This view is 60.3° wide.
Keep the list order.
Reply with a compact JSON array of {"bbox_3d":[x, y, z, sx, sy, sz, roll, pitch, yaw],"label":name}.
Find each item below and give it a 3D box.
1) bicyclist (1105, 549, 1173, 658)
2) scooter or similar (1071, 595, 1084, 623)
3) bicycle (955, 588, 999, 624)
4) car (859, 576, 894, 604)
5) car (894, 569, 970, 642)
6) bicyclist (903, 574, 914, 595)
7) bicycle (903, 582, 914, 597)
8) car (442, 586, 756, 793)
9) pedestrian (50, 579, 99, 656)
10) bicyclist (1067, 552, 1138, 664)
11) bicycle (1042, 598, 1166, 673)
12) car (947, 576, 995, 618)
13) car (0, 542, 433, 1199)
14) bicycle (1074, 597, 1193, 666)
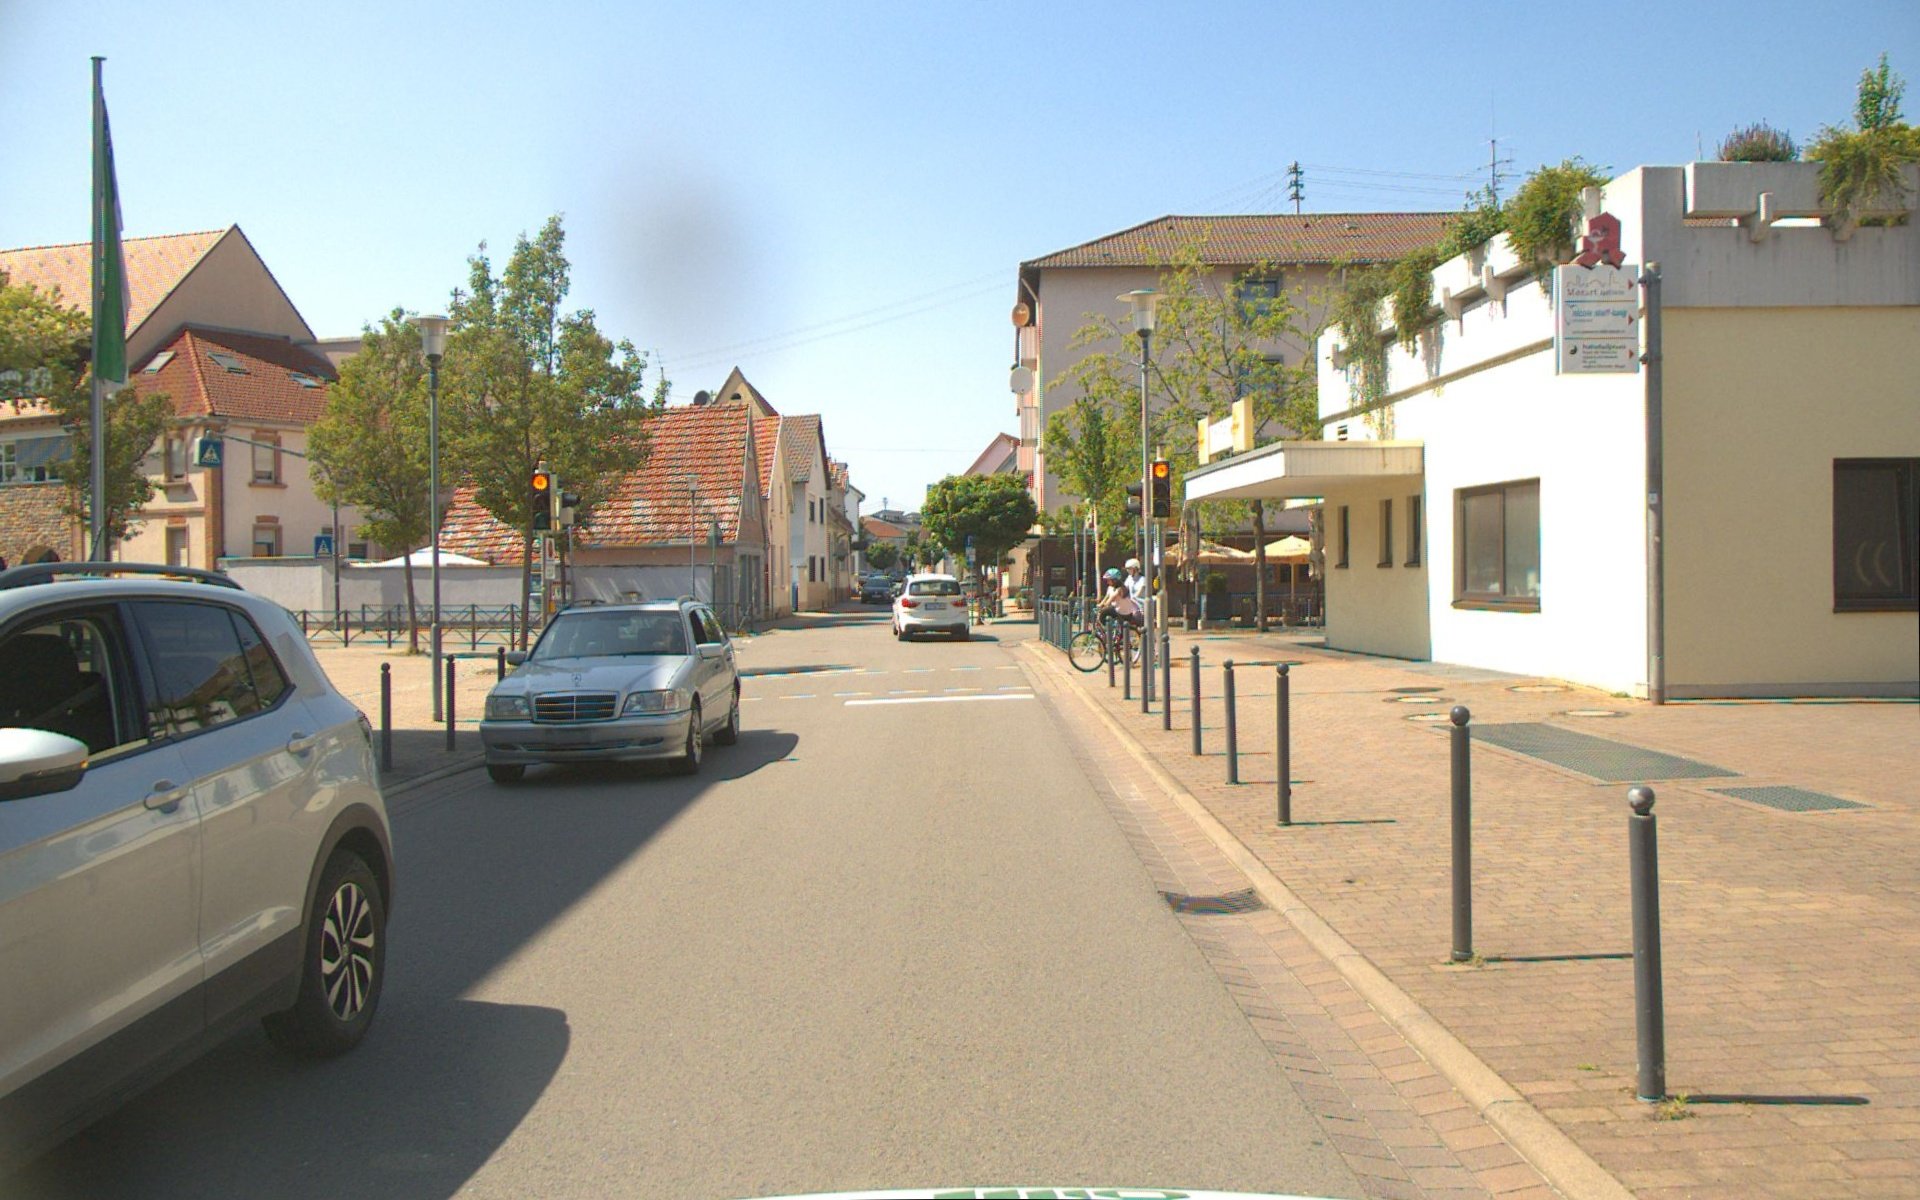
[{"bbox_3d":[2.855,0.052,26.380,0.753,1.693,0.662,-3,1,-36],"label":"bicyclist"},{"bbox_3d":[3.789,0.294,53.393,0.371,0.889,0.891,-1,1,6],"label":"scooter or similar"},{"bbox_3d":[0.568,0.207,56.662,0.523,1.214,1.649,-1,1,-43],"label":"bicycle"},{"bbox_3d":[-4.823,-0.603,96.106,1.678,1.543,3.787,-1,1,2],"label":"car"},{"bbox_3d":[-0.746,0.094,41.922,1.797,1.680,3.999,-1,2,-3],"label":"car"},{"bbox_3d":[-3.684,-1.110,118.268,0.659,1.508,0.771,-1,0,2],"label":"bicyclist"},{"bbox_3d":[-3.675,-0.772,118.302,0.650,1.024,1.898,-1,1,2],"label":"bicycle"},{"bbox_3d":[-3.065,0.670,15.004,1.842,1.489,4.435,-3,1,-1],"label":"car"},{"bbox_3d":[-19.755,0.387,36.889,0.807,1.683,0.839,0,0,-40],"label":"pedestrian"},{"bbox_3d":[2.135,0.115,24.825,0.754,1.609,0.662,-4,2,-38],"label":"bicyclist"},{"bbox_3d":[2.172,0.516,24.836,1.877,0.974,0.667,-4,2,-38],"label":"bicycle"},{"bbox_3d":[0.474,-0.143,65.454,1.767,1.527,4.002,-1,1,2],"label":"car"},{"bbox_3d":[-2.857,0.689,4.003,1.813,1.601,4.001,-1,1,1],"label":"car"},{"bbox_3d":[2.771,0.489,26.316,1.875,0.974,0.667,-4,1,-36],"label":"bicycle"}]
